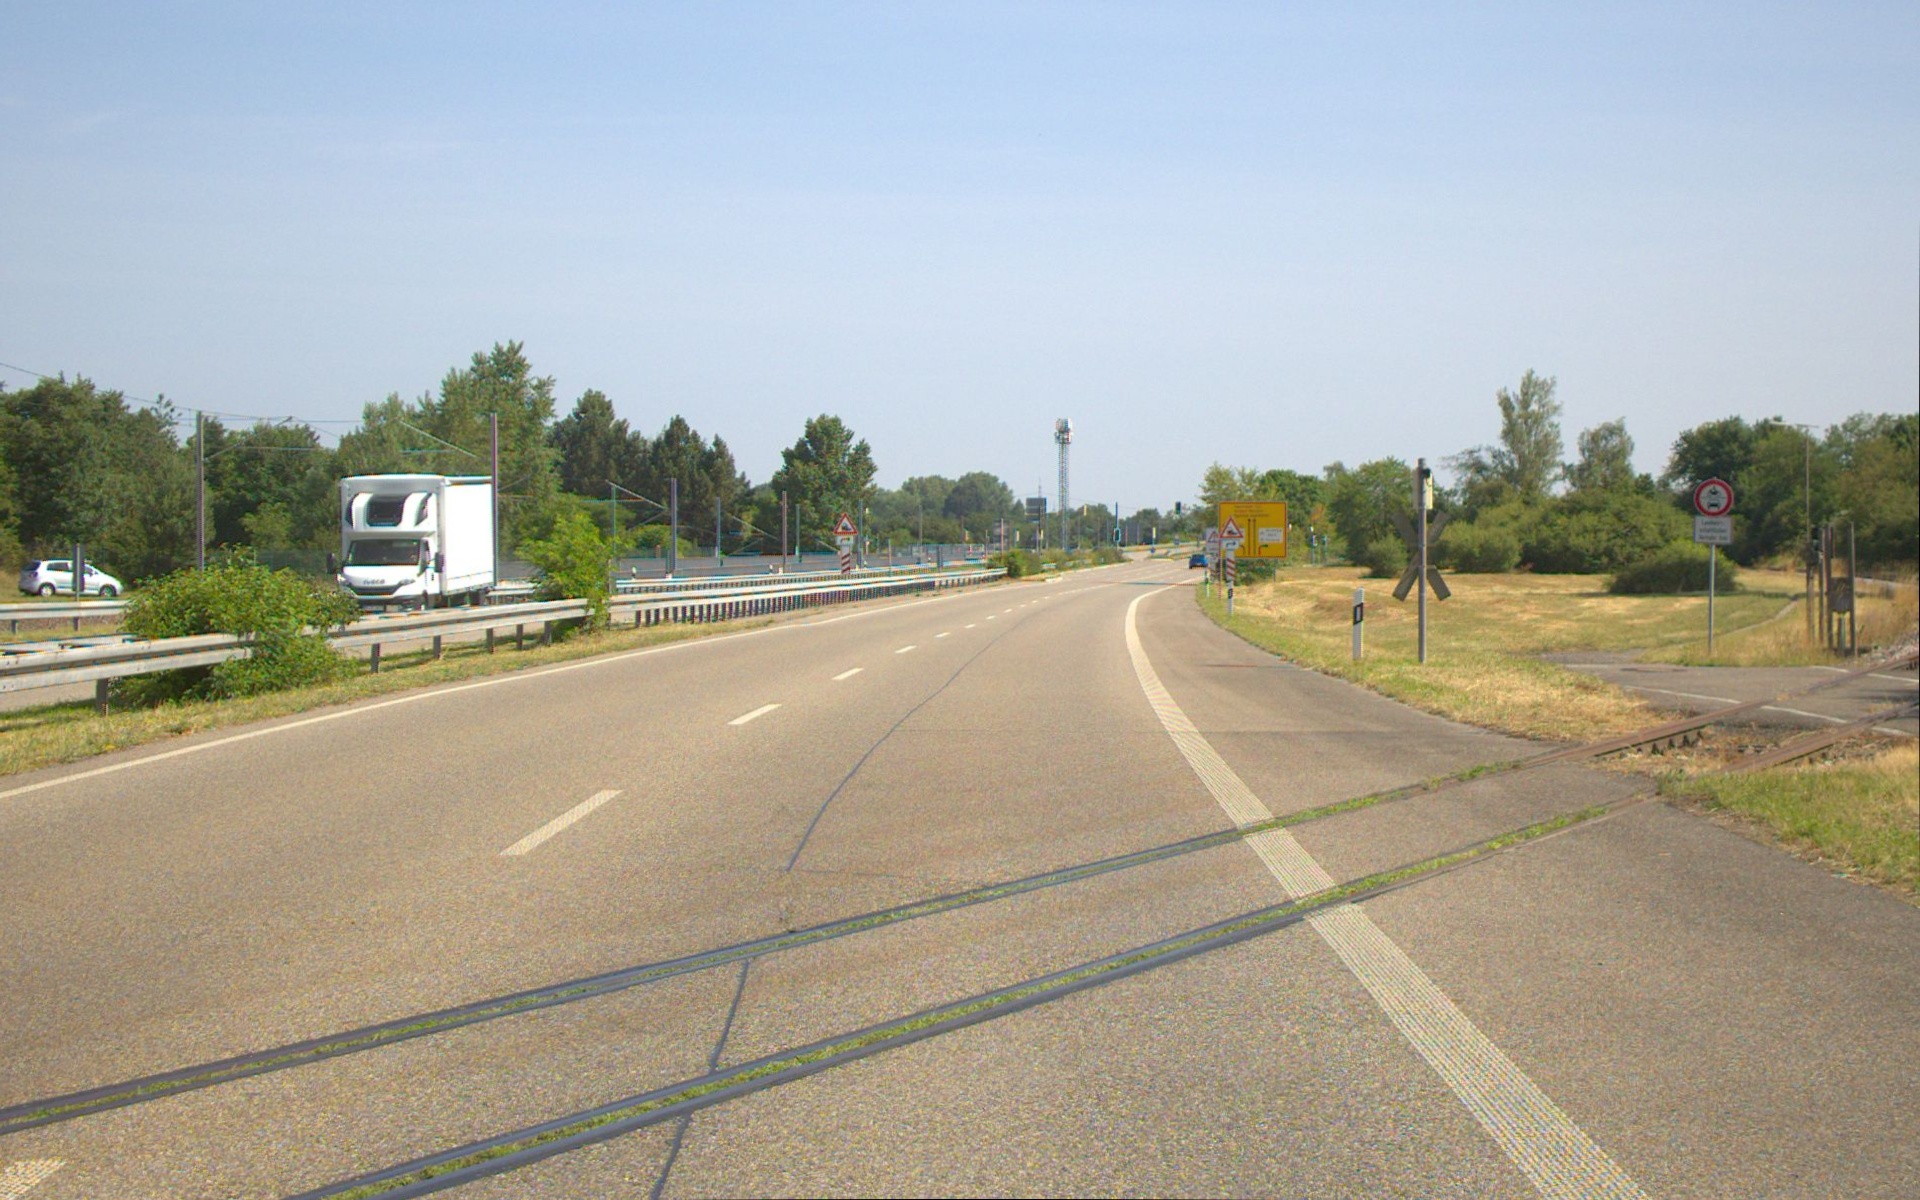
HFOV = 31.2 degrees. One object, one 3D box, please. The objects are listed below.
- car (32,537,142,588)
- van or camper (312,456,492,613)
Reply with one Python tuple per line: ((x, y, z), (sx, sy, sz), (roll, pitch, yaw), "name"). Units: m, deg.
((-35.038, -1.528, 137.906), (3.986, 2.007, 2.000), (-1, 1, -24), "car")
((-13.645, -1.604, 84.753), (2.876, 3.668, 8.644), (0, 1, 1), "van or camper")
